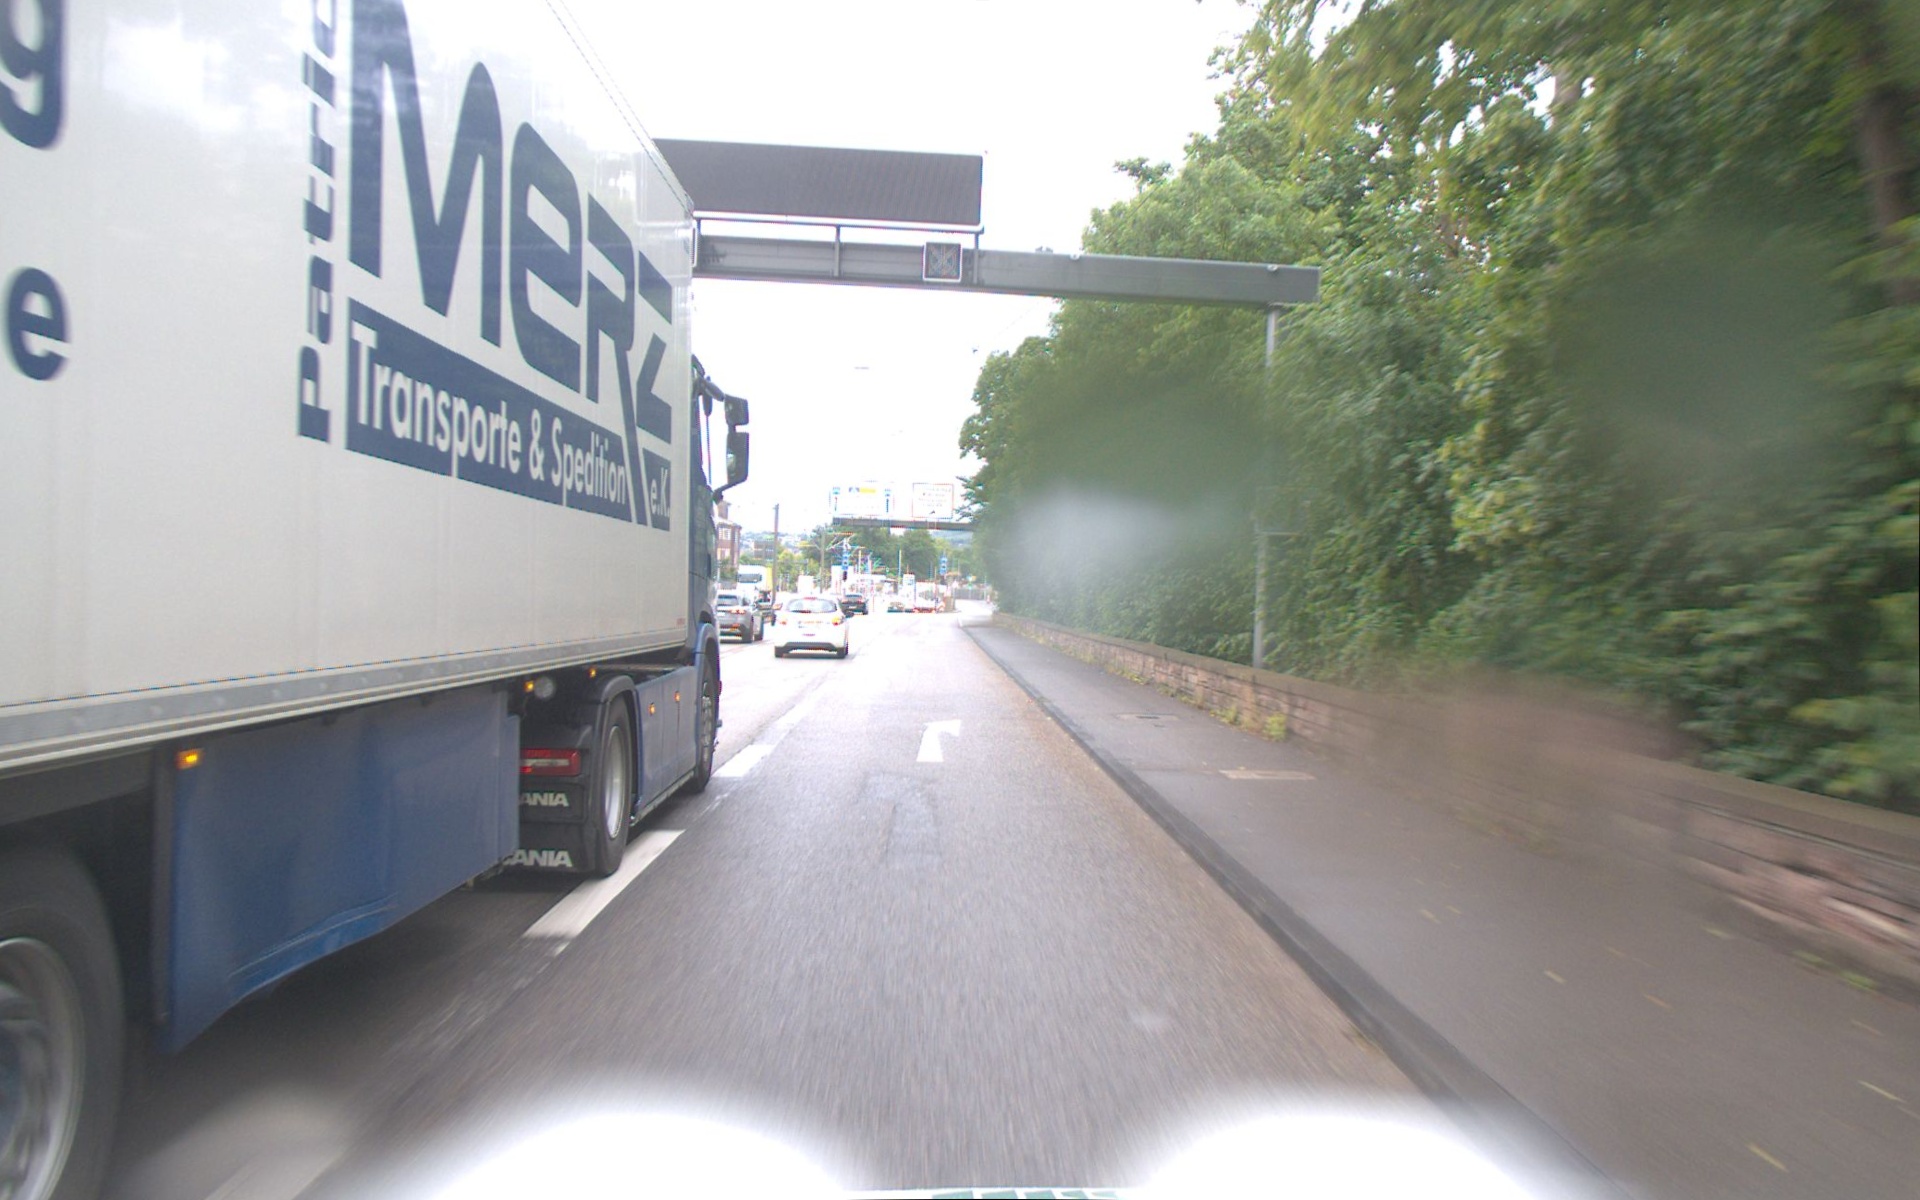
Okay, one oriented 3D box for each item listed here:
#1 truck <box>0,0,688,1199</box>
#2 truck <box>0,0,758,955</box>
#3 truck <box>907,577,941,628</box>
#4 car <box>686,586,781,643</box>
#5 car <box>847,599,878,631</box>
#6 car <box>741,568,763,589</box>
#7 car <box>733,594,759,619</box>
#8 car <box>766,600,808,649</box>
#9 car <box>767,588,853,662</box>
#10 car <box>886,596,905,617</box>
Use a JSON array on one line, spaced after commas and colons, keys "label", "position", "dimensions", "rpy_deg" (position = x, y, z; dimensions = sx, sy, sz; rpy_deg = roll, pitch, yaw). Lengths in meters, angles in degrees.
[{"label": "truck", "position": [-2.834, -0.659, 3.221], "dimensions": [2.706, 4.270, 13.028], "rpy_deg": [0, 1, -1]}, {"label": "truck", "position": [-3.002, -0.654, 10.561], "dimensions": [2.706, 4.270, 6.783], "rpy_deg": [0, 1, -1]}, {"label": "truck", "position": [-4.213, 0.410, 198.309], "dimensions": [3.393, 5.496, 12.050], "rpy_deg": [1, -3, 1]}, {"label": "car", "position": [-6.647, 0.395, 48.917], "dimensions": [1.782, 1.593, 4.095], "rpy_deg": [-1, 0, 7]}, {"label": "car", "position": [-6.817, 1.062, 115.734], "dimensions": [1.953, 2.049, 3.998], "rpy_deg": [2, -3, -1]}, {"label": "car", "position": [-23.293, -2.392, 185.255], "dimensions": [1.953, 2.049, 3.998], "rpy_deg": [2, -3, -1]}, {"label": "car", "position": [-19.875, 0.610, 153.604], "dimensions": [1.953, 2.049, 3.998], "rpy_deg": [2, -3, -1]}, {"label": "car", "position": [-7.823, 1.094, 74.639], "dimensions": [1.690, 1.923, 3.529], "rpy_deg": [0, 4, -9]}, {"label": "car", "position": [-3.557, 0.558, 39.604], "dimensions": [1.917, 1.513, 3.997], "rpy_deg": [2, 2, -5]}, {"label": "car", "position": [-7.078, 0.695, 182.334], "dimensions": [1.953, 2.049, 3.998], "rpy_deg": [2, -3, -1]}]
